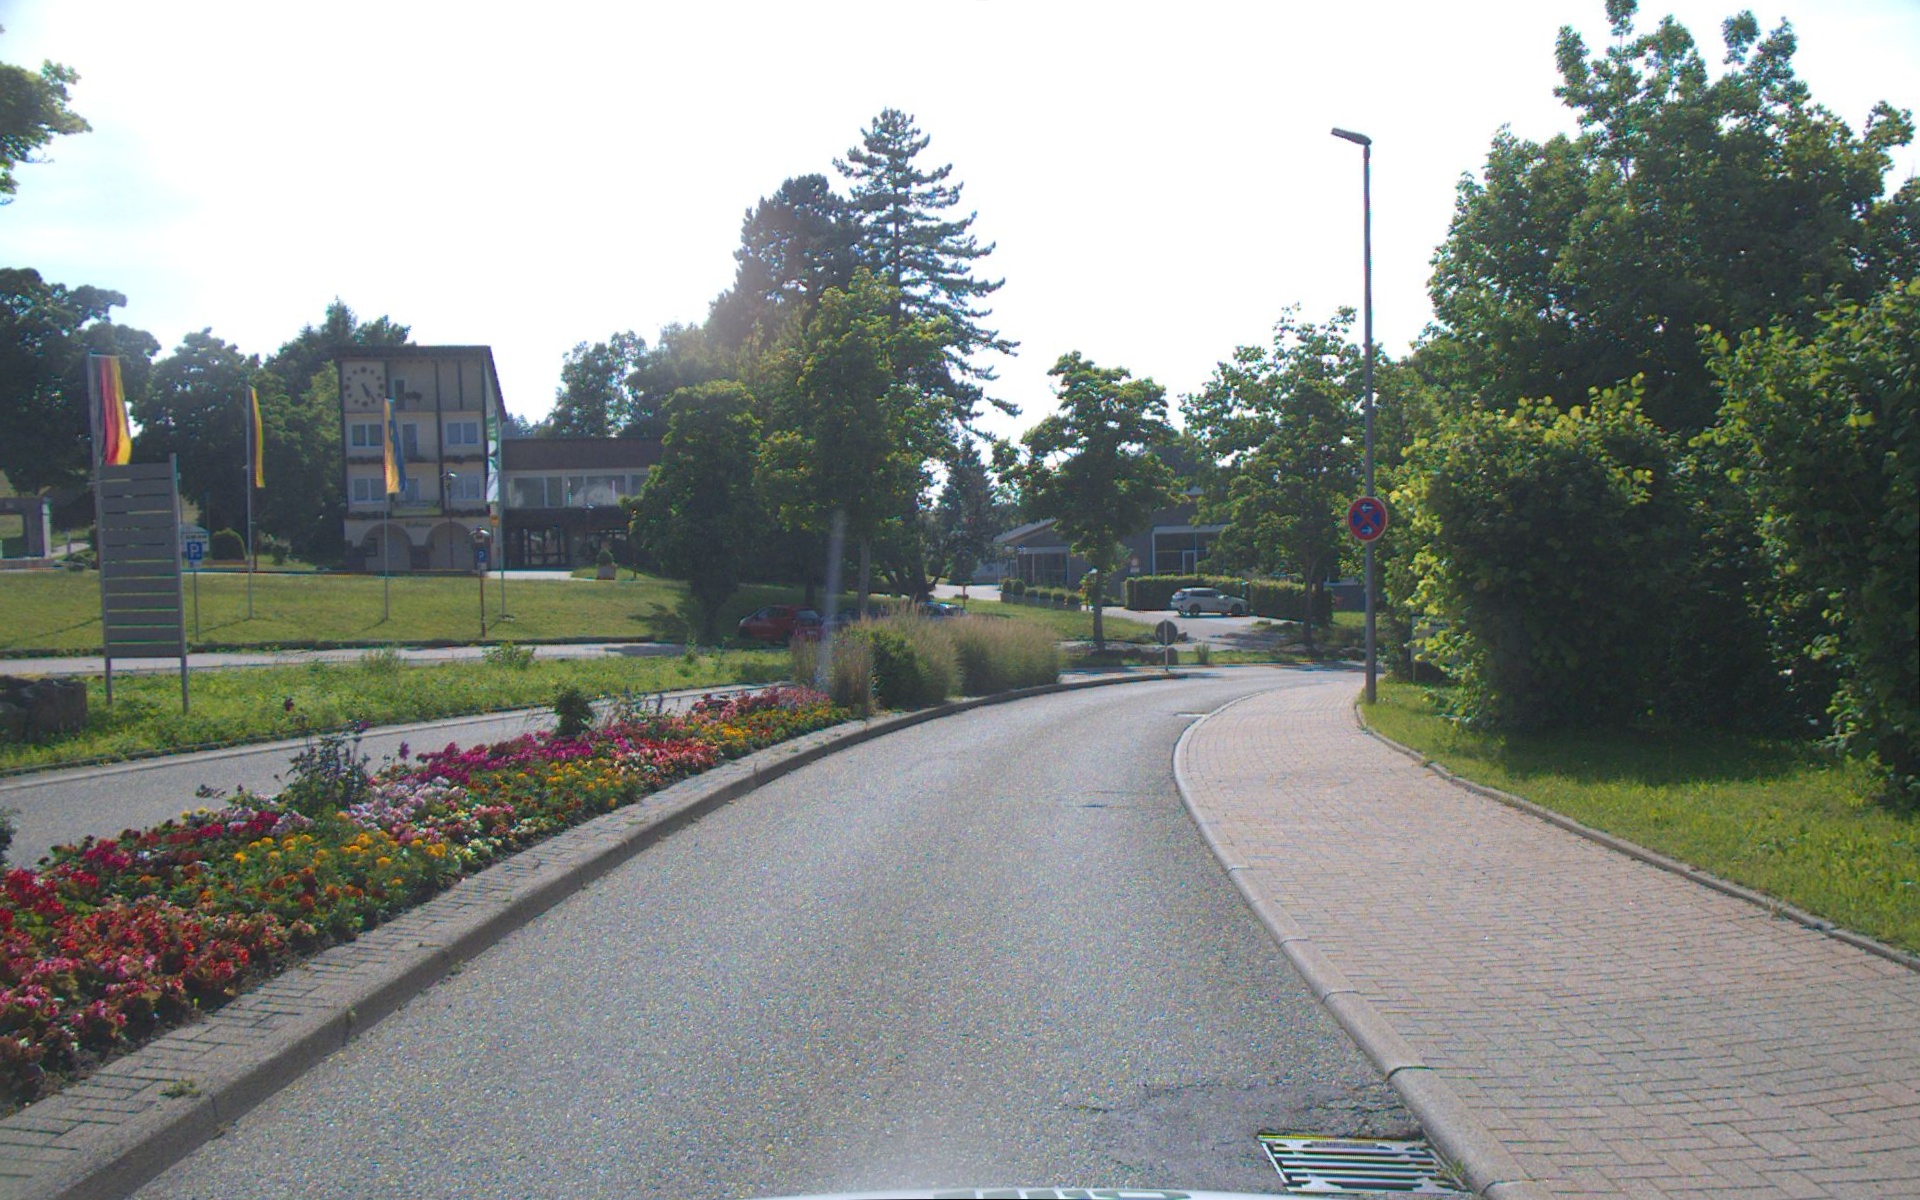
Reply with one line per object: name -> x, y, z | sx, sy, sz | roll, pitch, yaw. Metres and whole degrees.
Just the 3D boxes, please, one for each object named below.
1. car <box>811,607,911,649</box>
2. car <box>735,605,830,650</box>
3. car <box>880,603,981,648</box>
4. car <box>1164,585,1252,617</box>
car -> -3.808, 1.066, 63.369 | 3.647, 1.458, 1.766 | 2, 0, 42
car -> -6.553, 1.002, 61.008 | 3.148, 1.496, 1.767 | 2, 0, 40
car -> -1.209, 1.026, 66.409 | 3.870, 1.637, 1.766 | 2, 0, 41
car -> 14.315, 0.066, 95.429 | 4.639, 1.560, 1.992 | -2, 5, -16
